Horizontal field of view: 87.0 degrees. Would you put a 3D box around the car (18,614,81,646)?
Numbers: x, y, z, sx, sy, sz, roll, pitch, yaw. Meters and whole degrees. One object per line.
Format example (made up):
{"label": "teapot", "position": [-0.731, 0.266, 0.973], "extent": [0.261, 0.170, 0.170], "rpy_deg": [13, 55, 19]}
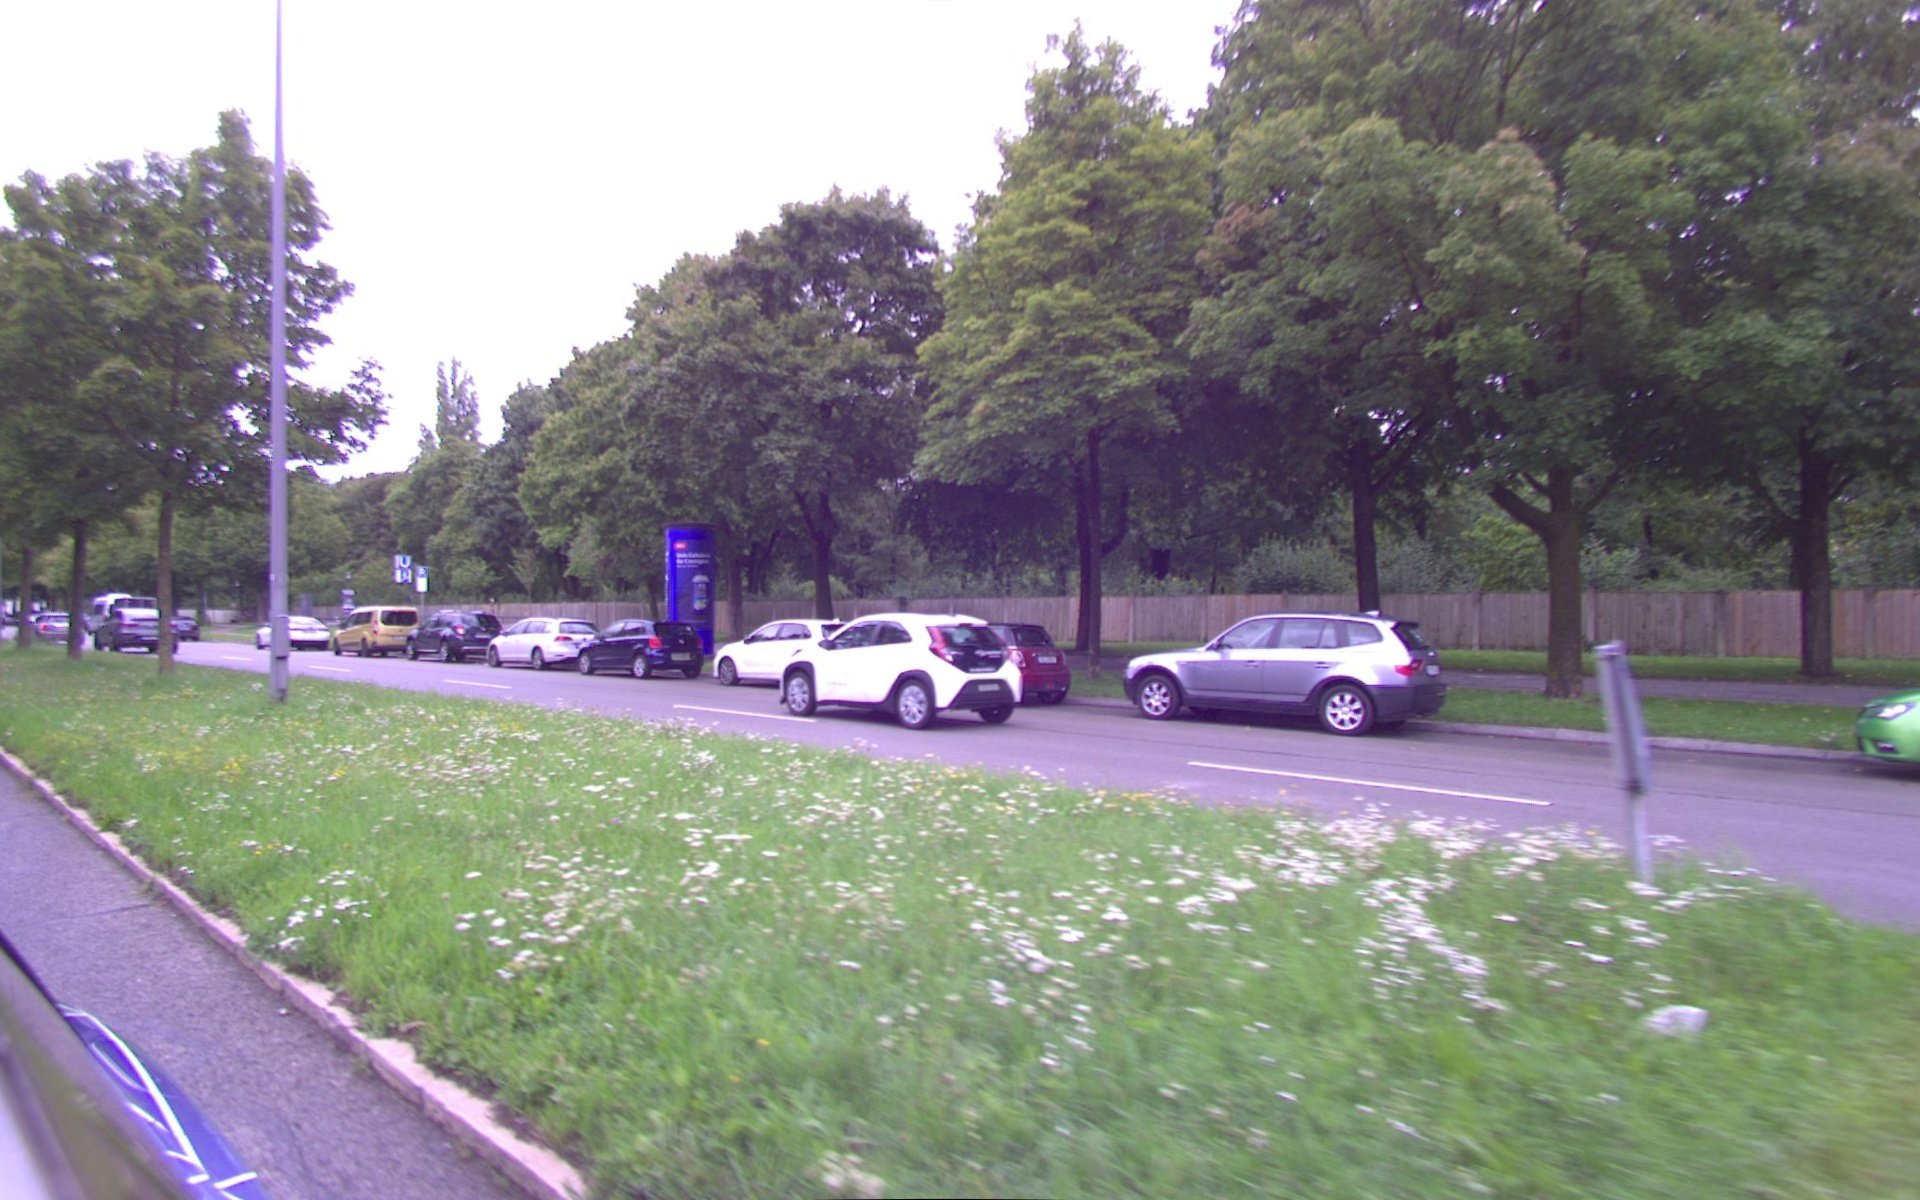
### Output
{"label": "car", "position": [-42.008, 1.366, 46.665], "extent": [3.766, 1.393, 1.700], "rpy_deg": [-1, -3, 41]}

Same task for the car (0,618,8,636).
{"label": "car", "position": [-89.577, 2.477, 93.514], "extent": [4.498, 1.682, 1.842], "rpy_deg": [-1, -3, 41]}

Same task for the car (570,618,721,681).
{"label": "car", "position": [-7.927, 1.207, 25.381], "extent": [3.784, 1.457, 1.803], "rpy_deg": [-1, -3, 39]}

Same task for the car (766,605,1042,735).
{"label": "car", "position": [-0.869, 0.871, 14.201], "extent": [3.721, 1.565, 1.801], "rpy_deg": [-1, -1, 43]}

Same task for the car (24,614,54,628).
{"label": "car", "position": [-94.740, 2.164, 104.058], "extent": [4.037, 1.420, 1.695], "rpy_deg": [-1, -2, 39]}

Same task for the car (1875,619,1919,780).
{"label": "car", "position": [10.848, 0.940, 8.984], "extent": [3.999, 1.511, 1.623], "rpy_deg": [-1, -3, 42]}

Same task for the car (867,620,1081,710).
{"label": "car", "position": [0.192, 1.112, 18.201], "extent": [3.686, 1.433, 1.632], "rpy_deg": [-1, -3, 42]}

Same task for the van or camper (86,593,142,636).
{"label": "van or camper", "position": [-58.103, 1.004, 69.478], "extent": [4.927, 2.829, 1.974], "rpy_deg": [-1, -2, 39]}

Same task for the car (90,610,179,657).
{"label": "car", "position": [-30.052, 1.185, 36.795], "extent": [4.499, 1.601, 1.802], "rpy_deg": [-1, -1, 41]}

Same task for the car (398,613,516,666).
{"label": "car", "position": [-16.551, 1.253, 33.240], "extent": [4.037, 1.628, 1.982], "rpy_deg": [-1, -2, 39]}

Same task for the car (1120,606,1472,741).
{"label": "car", "position": [4.667, 0.940, 14.476], "extent": [4.454, 1.643, 1.802], "rpy_deg": [-1, -2, 41]}

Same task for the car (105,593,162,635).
{"label": "car", "position": [-54.236, 0.939, 66.414], "extent": [4.495, 2.611, 1.974], "rpy_deg": [-1, -2, 39]}

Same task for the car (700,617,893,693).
{"label": "car", "position": [-3.584, 1.136, 21.775], "extent": [4.258, 1.488, 1.802], "rpy_deg": [-1, -3, 42]}

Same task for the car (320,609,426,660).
{"label": "car", "position": [-21.582, 1.236, 37.131], "extent": [4.529, 1.784, 1.839], "rpy_deg": [-1, -2, 39]}

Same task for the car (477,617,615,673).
{"label": "car", "position": [-11.916, 1.255, 29.010], "extent": [4.296, 1.481, 1.803], "rpy_deg": [-1, -2, 39]}

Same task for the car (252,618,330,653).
{"label": "car", "position": [-29.247, 1.512, 44.211], "extent": [4.037, 1.454, 1.695], "rpy_deg": [-1, -2, 39]}
